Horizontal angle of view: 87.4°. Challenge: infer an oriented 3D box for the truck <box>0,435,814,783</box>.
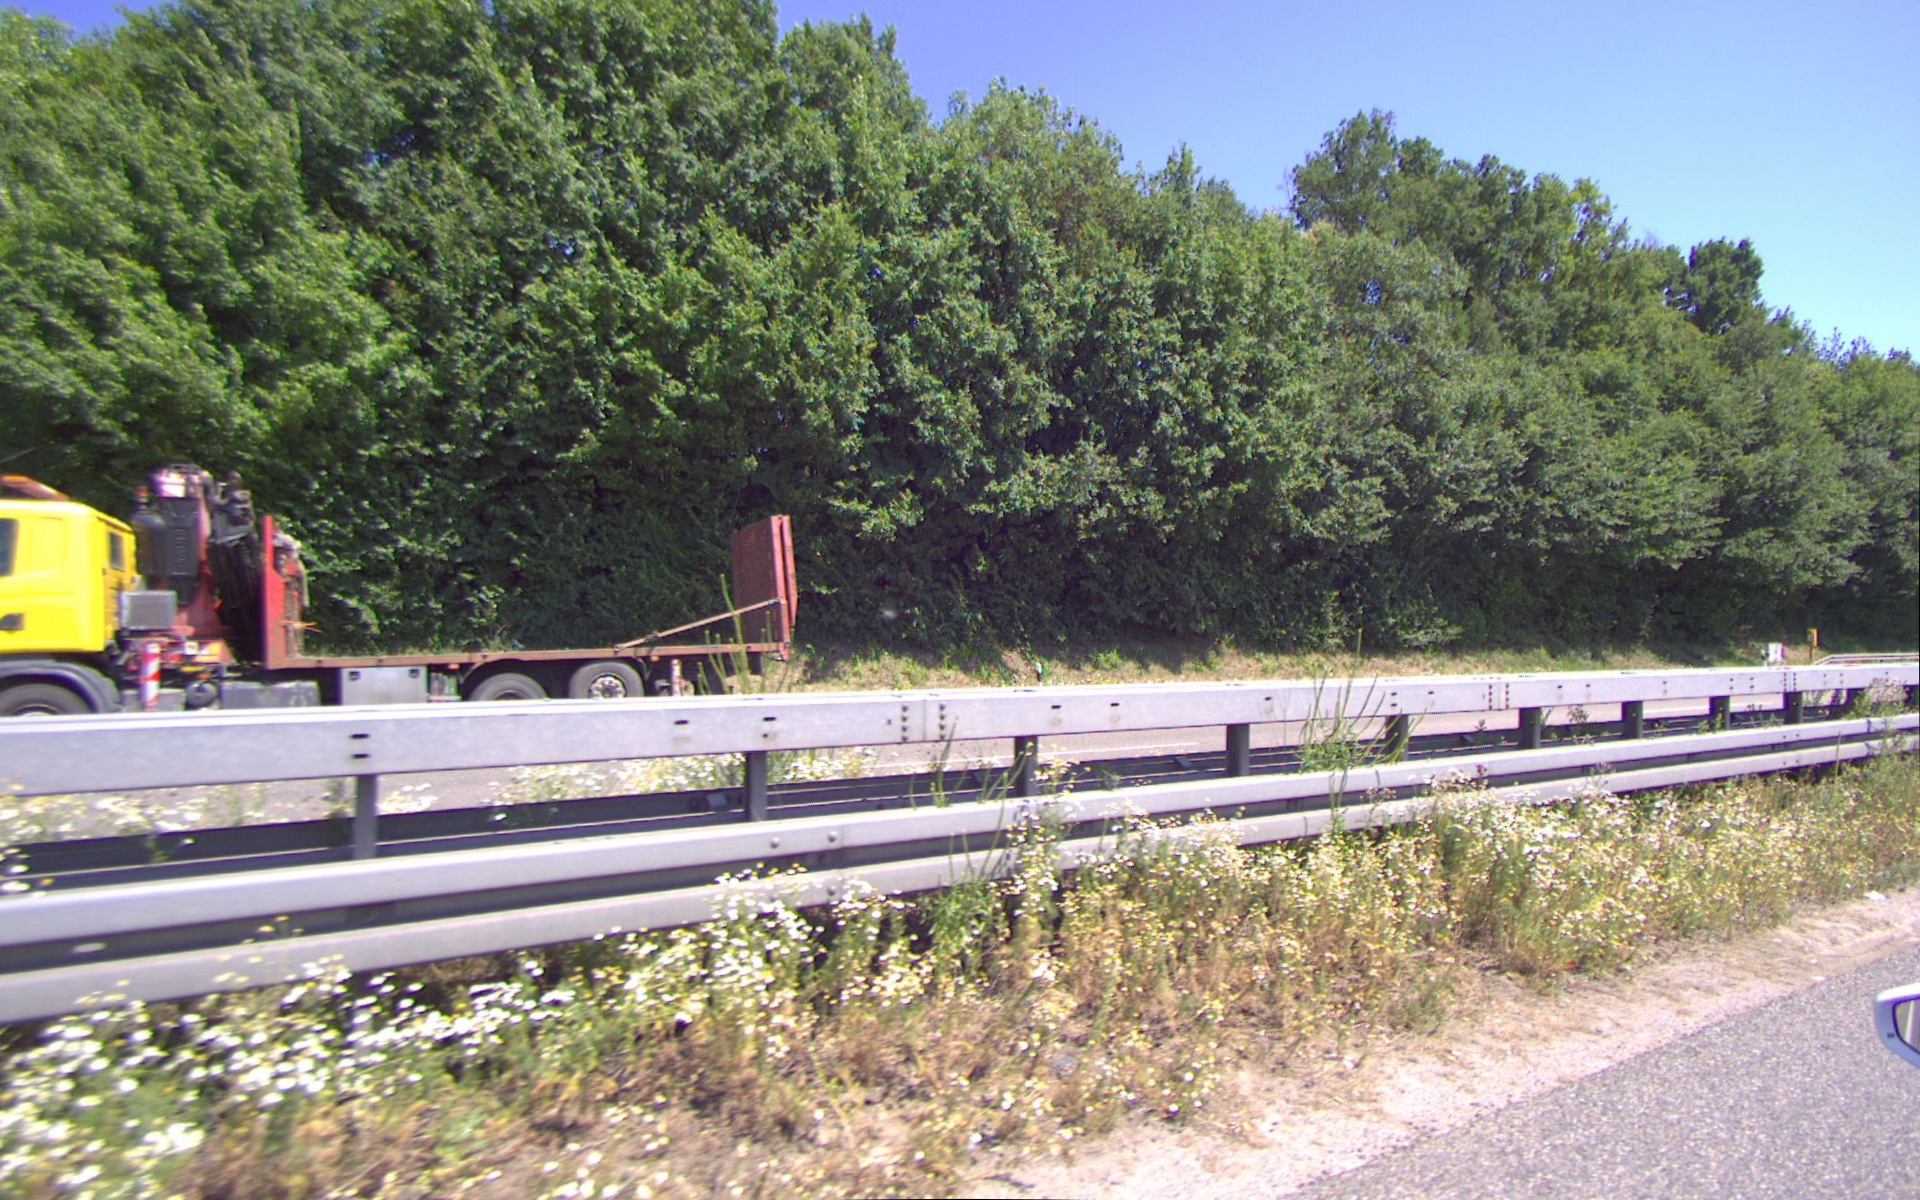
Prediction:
[{"bbox_3d":[-7.764,0.202,14.161,11.029,3.788,2.769,2,0,-31],"label":"truck"}]
